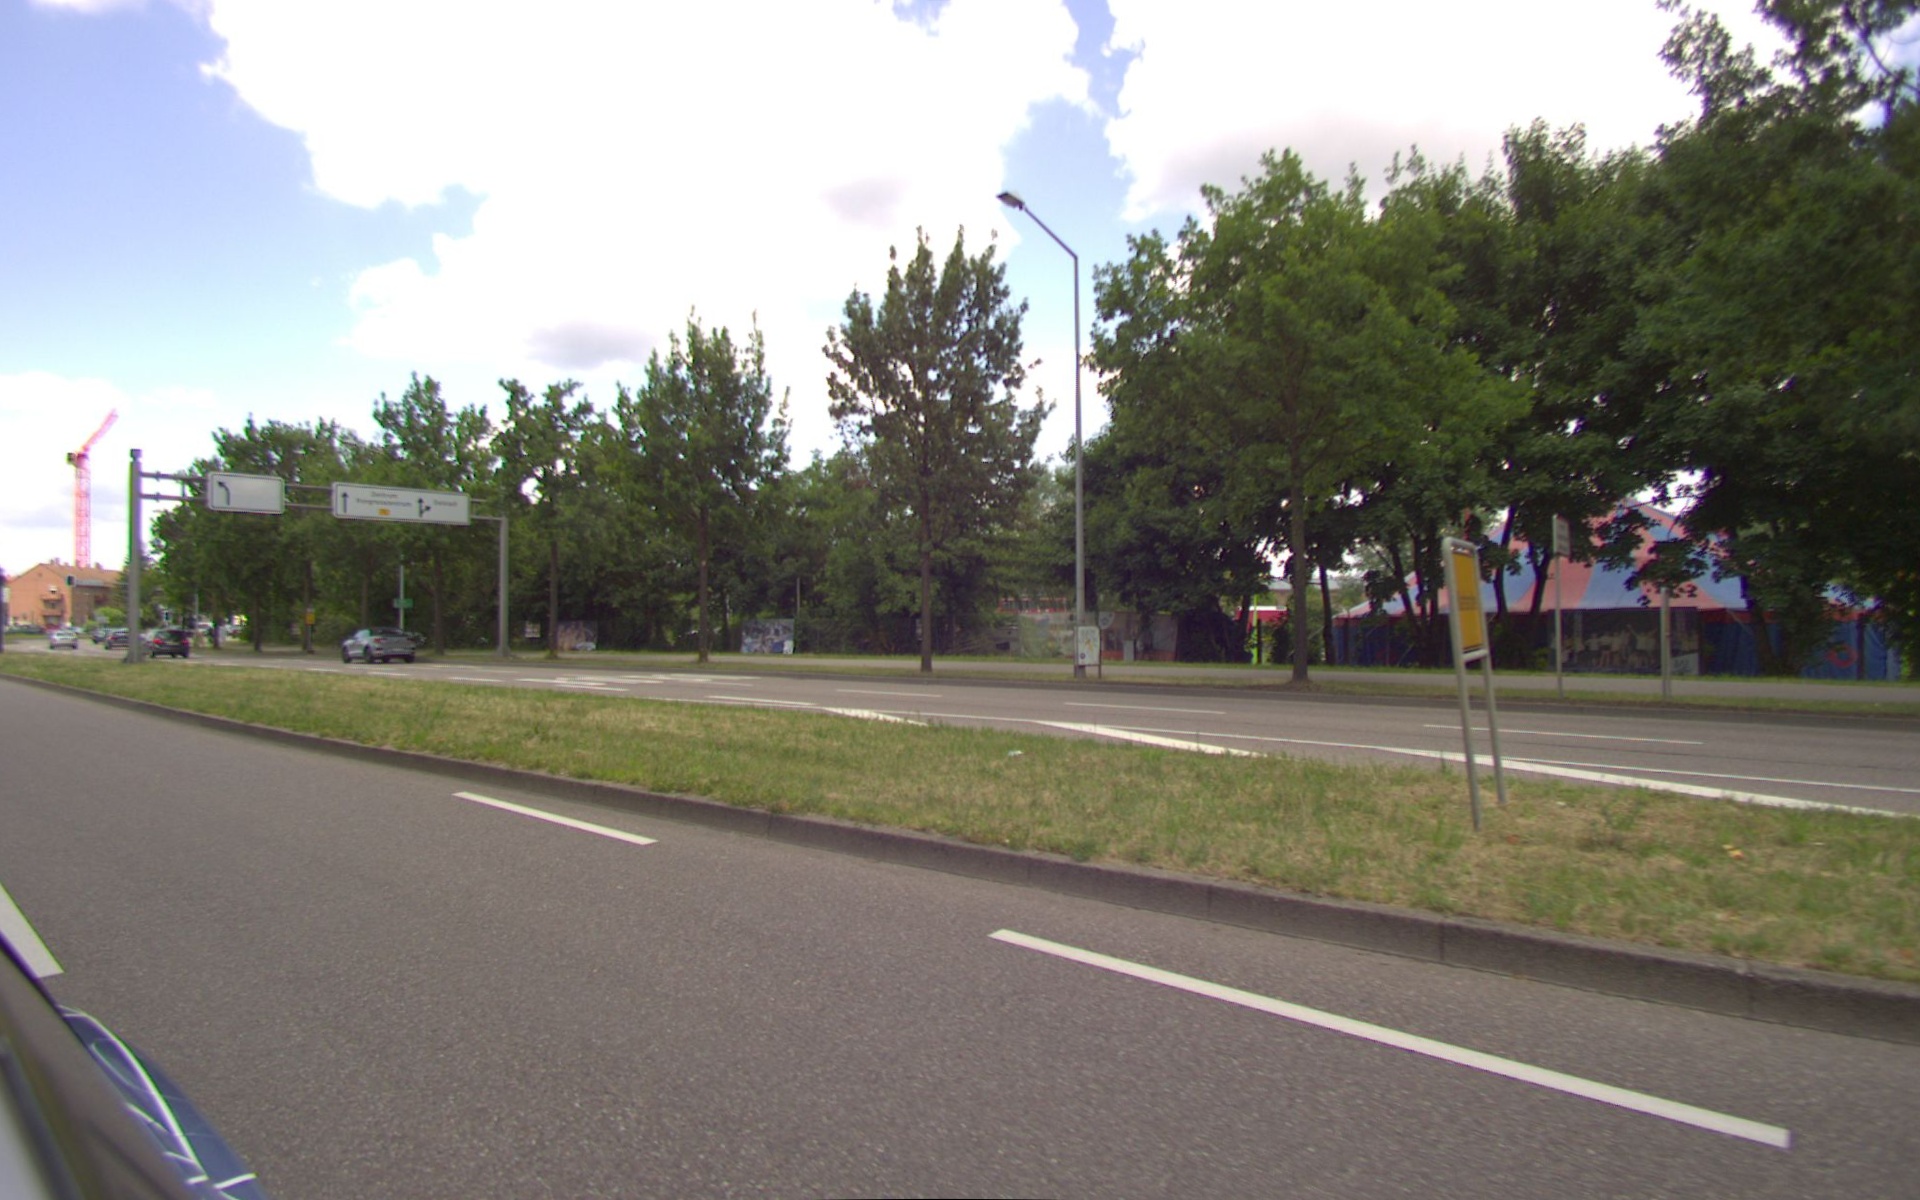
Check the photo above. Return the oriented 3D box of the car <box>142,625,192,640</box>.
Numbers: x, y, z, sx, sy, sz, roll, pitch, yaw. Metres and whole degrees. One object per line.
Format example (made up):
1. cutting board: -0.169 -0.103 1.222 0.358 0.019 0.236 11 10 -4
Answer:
1. car: -85.550 3.504 109.240 1.816 1.491 4.757 1 -2 -4

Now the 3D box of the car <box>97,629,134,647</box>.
1. car: -76.854 3.444 92.147 1.883 1.552 4.381 1 -2 -31

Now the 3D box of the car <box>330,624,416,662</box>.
1. car: -24.994 1.800 43.023 4.570 1.557 1.723 -2 -3 40

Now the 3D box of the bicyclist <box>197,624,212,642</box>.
1. bicyclist: -66.486 2.907 89.068 0.883 1.576 0.821 -1 1 41

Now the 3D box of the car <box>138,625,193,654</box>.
1. car: -44.702 2.228 56.922 4.274 1.581 1.723 -2 -3 42

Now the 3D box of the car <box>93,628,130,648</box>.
1. car: -68.158 3.014 81.266 5.033 1.589 1.743 -2 -2 44

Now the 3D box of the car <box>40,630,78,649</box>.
1. car: -71.959 3.137 80.782 4.307 1.451 1.744 -2 -2 42

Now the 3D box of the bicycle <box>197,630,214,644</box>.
1. bicycle: -66.376 3.255 88.990 2.015 1.228 0.753 -1 1 41

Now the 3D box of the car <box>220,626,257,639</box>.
1. car: -82.320 3.660 115.523 1.813 1.454 4.430 1 -2 -13

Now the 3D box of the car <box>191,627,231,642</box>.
1. car: -88.100 4.050 119.079 1.814 1.813 4.798 1 -2 -10

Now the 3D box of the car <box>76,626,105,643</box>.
1. car: -83.126 3.276 96.795 1.699 1.603 5.024 1 -2 -36
